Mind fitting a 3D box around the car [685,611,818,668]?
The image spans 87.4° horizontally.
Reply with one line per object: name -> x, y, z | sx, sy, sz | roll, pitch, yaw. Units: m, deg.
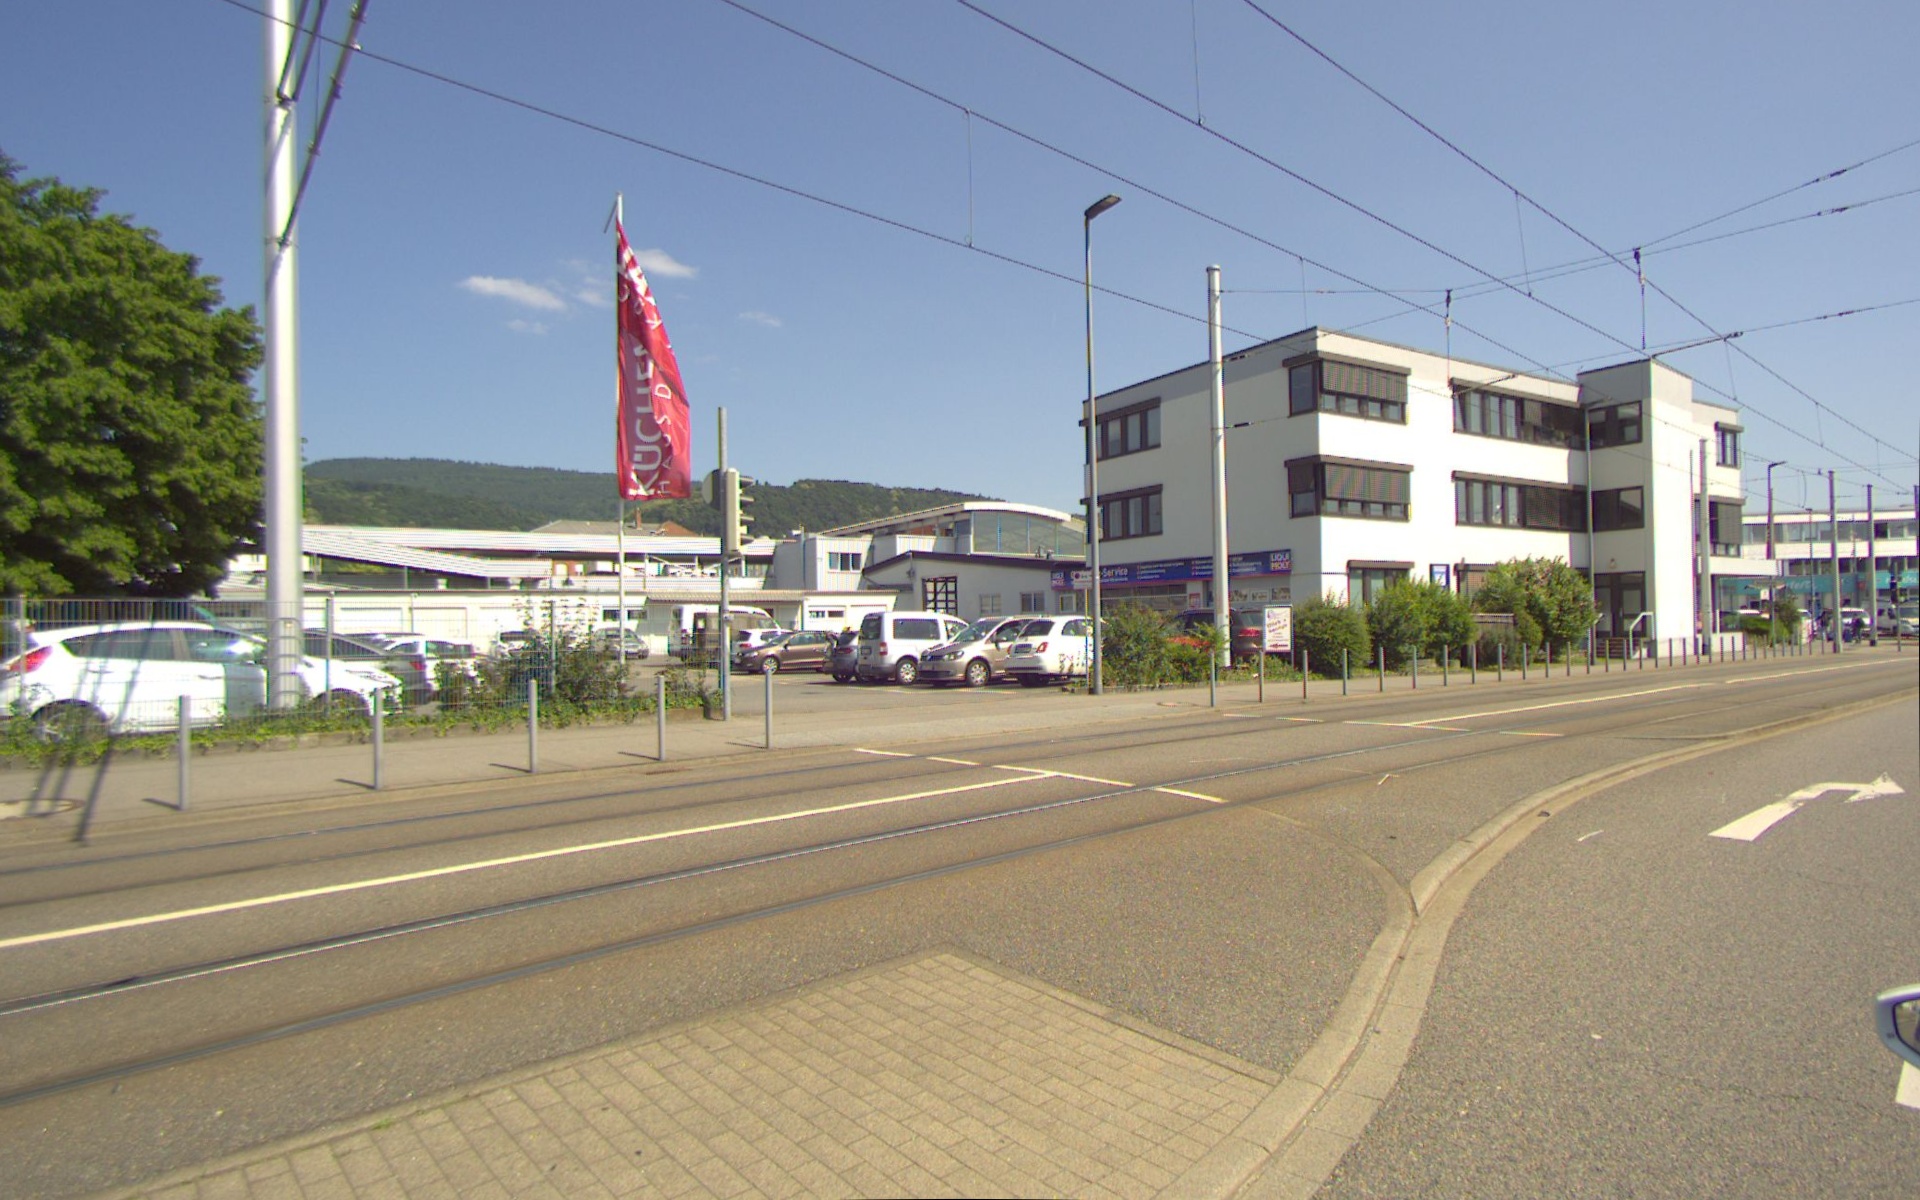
car -> -7.859, 1.446, 38.023 | 4.531, 2.040, 2.040 | 1, -2, -33

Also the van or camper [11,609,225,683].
van or camper -> -24.700, 1.309, 29.727 | 4.594, 2.034, 1.982 | 0, -2, -33

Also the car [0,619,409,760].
car -> -9.043, 0.973, 12.155 | 3.922, 1.452, 1.693 | 2, -2, -40

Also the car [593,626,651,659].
car -> -15.844, 1.966, 46.973 | 1.975, 1.435, 3.972 | 0, -2, -27

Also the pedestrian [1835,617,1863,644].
pedestrian -> 49.639, 1.682, 56.079 | 1.117, 1.474, 0.833 | -2, -2, 43

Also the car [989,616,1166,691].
car -> 2.705, 1.167, 22.907 | 3.794, 1.562, 1.726 | 1, -2, -32

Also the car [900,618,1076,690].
car -> 0.696, 1.252, 24.290 | 3.890, 1.588, 1.841 | 0, -2, -31

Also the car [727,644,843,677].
car -> -5.844, 1.990, 33.500 | 3.448, 0.996, 1.735 | 0, -2, -31

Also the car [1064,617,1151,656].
car -> 5.710, 1.394, 38.914 | 3.092, 1.445, 1.412 | 0, -1, -27

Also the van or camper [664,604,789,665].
van or camper -> -9.306, 1.336, 40.222 | 4.556, 2.336, 1.764 | 0, -1, -35

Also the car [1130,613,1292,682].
car -> 6.765, 1.276, 27.418 | 1.981, 1.728, 3.960 | 1, -3, -36

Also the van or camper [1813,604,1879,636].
van or camper -> 64.088, 1.423, 72.746 | 1.961, 2.040, 5.008 | -2, 0, 22

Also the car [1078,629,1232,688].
car -> 4.974, 1.461, 26.016 | 1.731, 1.388, 3.799 | 1, -2, -35

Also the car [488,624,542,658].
car -> -19.753, 1.797, 44.480 | 1.975, 1.435, 3.972 | 0, -2, -27

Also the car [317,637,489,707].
car -> -13.096, 1.642, 23.698 | 3.361, 1.504, 1.500 | 1, -2, -40

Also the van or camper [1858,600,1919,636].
van or camper -> 66.491, 1.244, 71.453 | 1.998, 2.327, 5.809 | -2, 0, 22

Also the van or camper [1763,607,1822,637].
van or camper -> 61.835, 1.603, 74.701 | 1.961, 2.040, 4.760 | -2, 0, 22

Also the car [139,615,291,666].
car -> -24.668, 1.315, 33.403 | 3.962, 1.576, 1.979 | 1, -2, -37

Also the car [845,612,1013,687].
car -> -0.795, 1.246, 26.254 | 3.954, 1.808, 1.984 | 0, -2, -31

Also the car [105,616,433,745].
car -> -9.986, 1.080, 14.857 | 3.792, 1.643, 1.755 | 0, -1, -31

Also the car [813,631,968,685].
car -> -1.919, 1.576, 28.005 | 3.954, 1.376, 1.832 | 0, -2, -31

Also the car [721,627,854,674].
car -> -6.228, 1.793, 36.416 | 4.377, 1.578, 1.974 | 1, -2, -33

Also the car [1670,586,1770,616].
car -> 41.833, 0.057, 55.362 | 1.980, 1.539, 3.961 | -2, 0, -35
